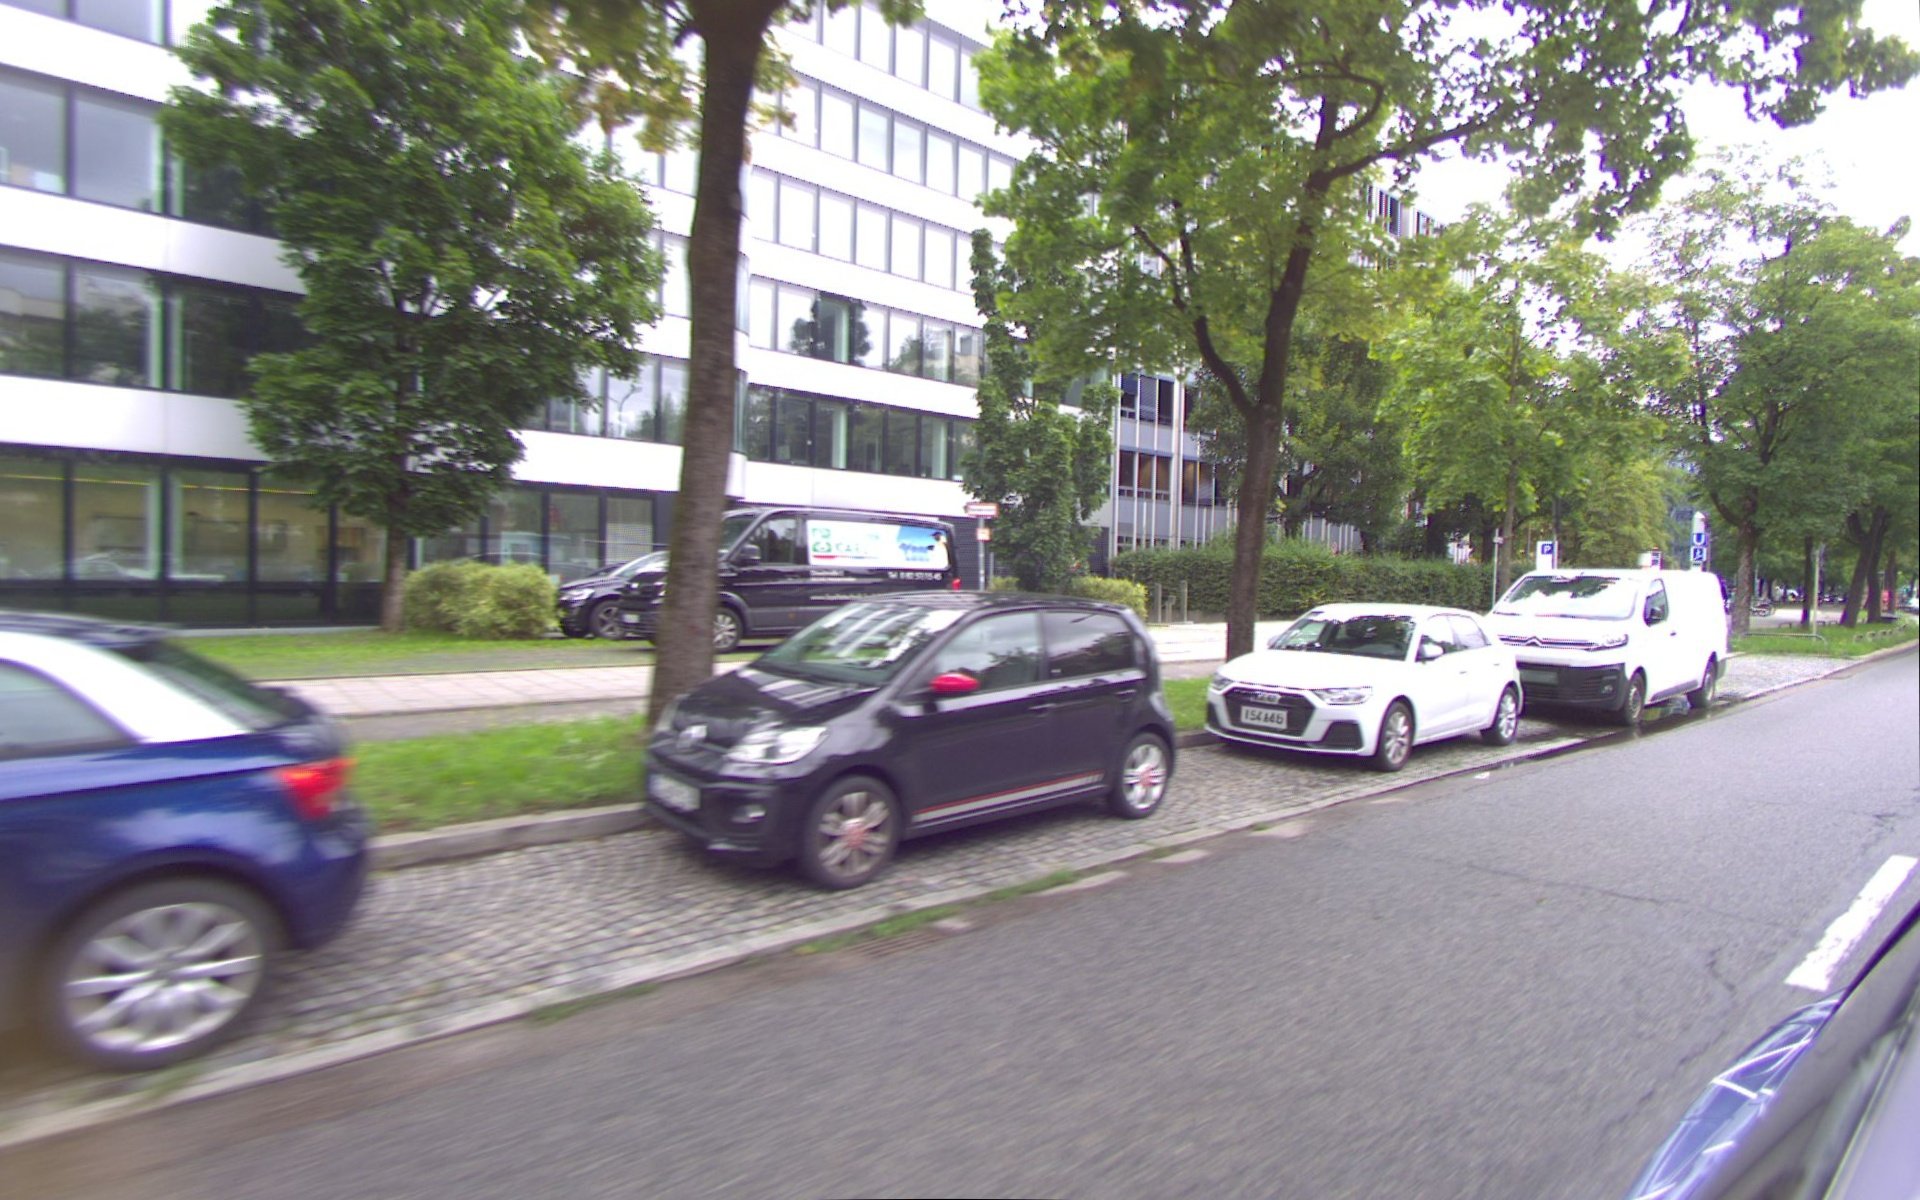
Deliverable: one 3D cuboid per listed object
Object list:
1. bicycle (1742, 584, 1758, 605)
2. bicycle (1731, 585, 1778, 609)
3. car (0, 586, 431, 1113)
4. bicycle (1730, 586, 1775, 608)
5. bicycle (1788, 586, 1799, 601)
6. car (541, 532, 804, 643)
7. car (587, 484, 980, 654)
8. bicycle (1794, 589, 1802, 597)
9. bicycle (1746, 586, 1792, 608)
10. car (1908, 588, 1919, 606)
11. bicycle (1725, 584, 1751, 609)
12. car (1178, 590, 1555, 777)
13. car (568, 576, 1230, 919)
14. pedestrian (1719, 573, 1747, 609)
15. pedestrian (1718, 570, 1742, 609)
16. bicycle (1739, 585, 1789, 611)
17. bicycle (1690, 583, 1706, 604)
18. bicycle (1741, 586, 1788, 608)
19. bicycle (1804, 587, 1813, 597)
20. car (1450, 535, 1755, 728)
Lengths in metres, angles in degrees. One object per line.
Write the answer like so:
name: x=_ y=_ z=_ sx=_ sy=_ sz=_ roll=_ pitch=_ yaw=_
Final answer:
bicycle: x=46.717 y=-0.336 z=59.850 sx=1.922 sy=1.203 sz=0.488 roll=0 pitch=2 yaw=-44
bicycle: x=43.353 y=-0.183 z=55.257 sx=1.920 sy=1.122 sz=0.580 roll=5 pitch=2 yaw=5
car: x=-3.962 y=0.704 z=2.918 sx=4.048 sy=1.438 sz=1.705 roll=0 pitch=2 yaw=-41
bicycle: x=44.515 y=-0.193 z=56.847 sx=1.920 sy=1.078 sz=0.580 roll=4 pitch=3 yaw=5
bicycle: x=72.223 y=-0.566 z=87.715 sx=0.620 sy=1.265 sz=1.891 roll=3 pitch=2 yaw=42
car: x=-5.294 y=-0.258 z=19.004 sx=4.396 sy=1.840 sz=1.845 roll=0 pitch=2 yaw=-43
car: x=-2.694 y=-0.485 z=16.778 sx=6.161 sy=2.335 sz=2.268 roll=0 pitch=2 yaw=-43
bicycle: x=100.265 y=-0.838 z=121.071 sx=2.105 sy=0.952 sz=0.512 roll=0 pitch=2 yaw=-43
bicycle: x=46.763 y=-0.164 z=58.500 sx=1.996 sy=1.112 sz=0.580 roll=3 pitch=4 yaw=4
car: x=93.103 y=-0.267 z=97.863 sx=4.526 sy=1.610 sz=1.863 roll=0 pitch=3 yaw=-44
bicycle: x=40.521 y=-0.172 z=52.680 sx=1.826 sy=1.241 sz=0.532 roll=2 pitch=2 yaw=-37
car: x=4.147 y=0.652 z=10.007 sx=4.158 sy=1.414 sz=1.705 roll=0 pitch=2 yaw=-41
car: x=-0.189 y=0.630 z=6.365 sx=3.908 sy=1.464 sz=1.705 roll=0 pitch=2 yaw=-40
pedestrian: x=38.258 y=-0.435 z=50.103 sx=0.735 sy=1.735 sz=0.787 roll=1 pitch=1 yaw=-27
pedestrian: x=38.753 y=-0.544 z=50.962 sx=0.734 sy=1.923 sz=0.654 roll=1 pitch=1 yaw=-27
bicycle: x=43.004 y=-0.118 z=54.173 sx=1.927 sy=1.203 sz=0.594 roll=5 pitch=2 yaw=16
bicycle: x=45.130 y=-0.401 z=61.883 sx=1.922 sy=1.203 sz=0.446 roll=0 pitch=2 yaw=-44
bicycle: x=45.662 y=-0.177 z=57.450 sx=2.005 sy=1.102 sz=0.604 roll=3 pitch=4 yaw=5
bicycle: x=100.991 y=-0.956 z=120.470 sx=2.105 sy=1.207 sz=0.512 roll=-1 pitch=3 yaw=-43
car: x=9.023 y=0.302 z=13.980 sx=5.457 sy=2.184 sz=1.992 roll=0 pitch=2 yaw=-41
